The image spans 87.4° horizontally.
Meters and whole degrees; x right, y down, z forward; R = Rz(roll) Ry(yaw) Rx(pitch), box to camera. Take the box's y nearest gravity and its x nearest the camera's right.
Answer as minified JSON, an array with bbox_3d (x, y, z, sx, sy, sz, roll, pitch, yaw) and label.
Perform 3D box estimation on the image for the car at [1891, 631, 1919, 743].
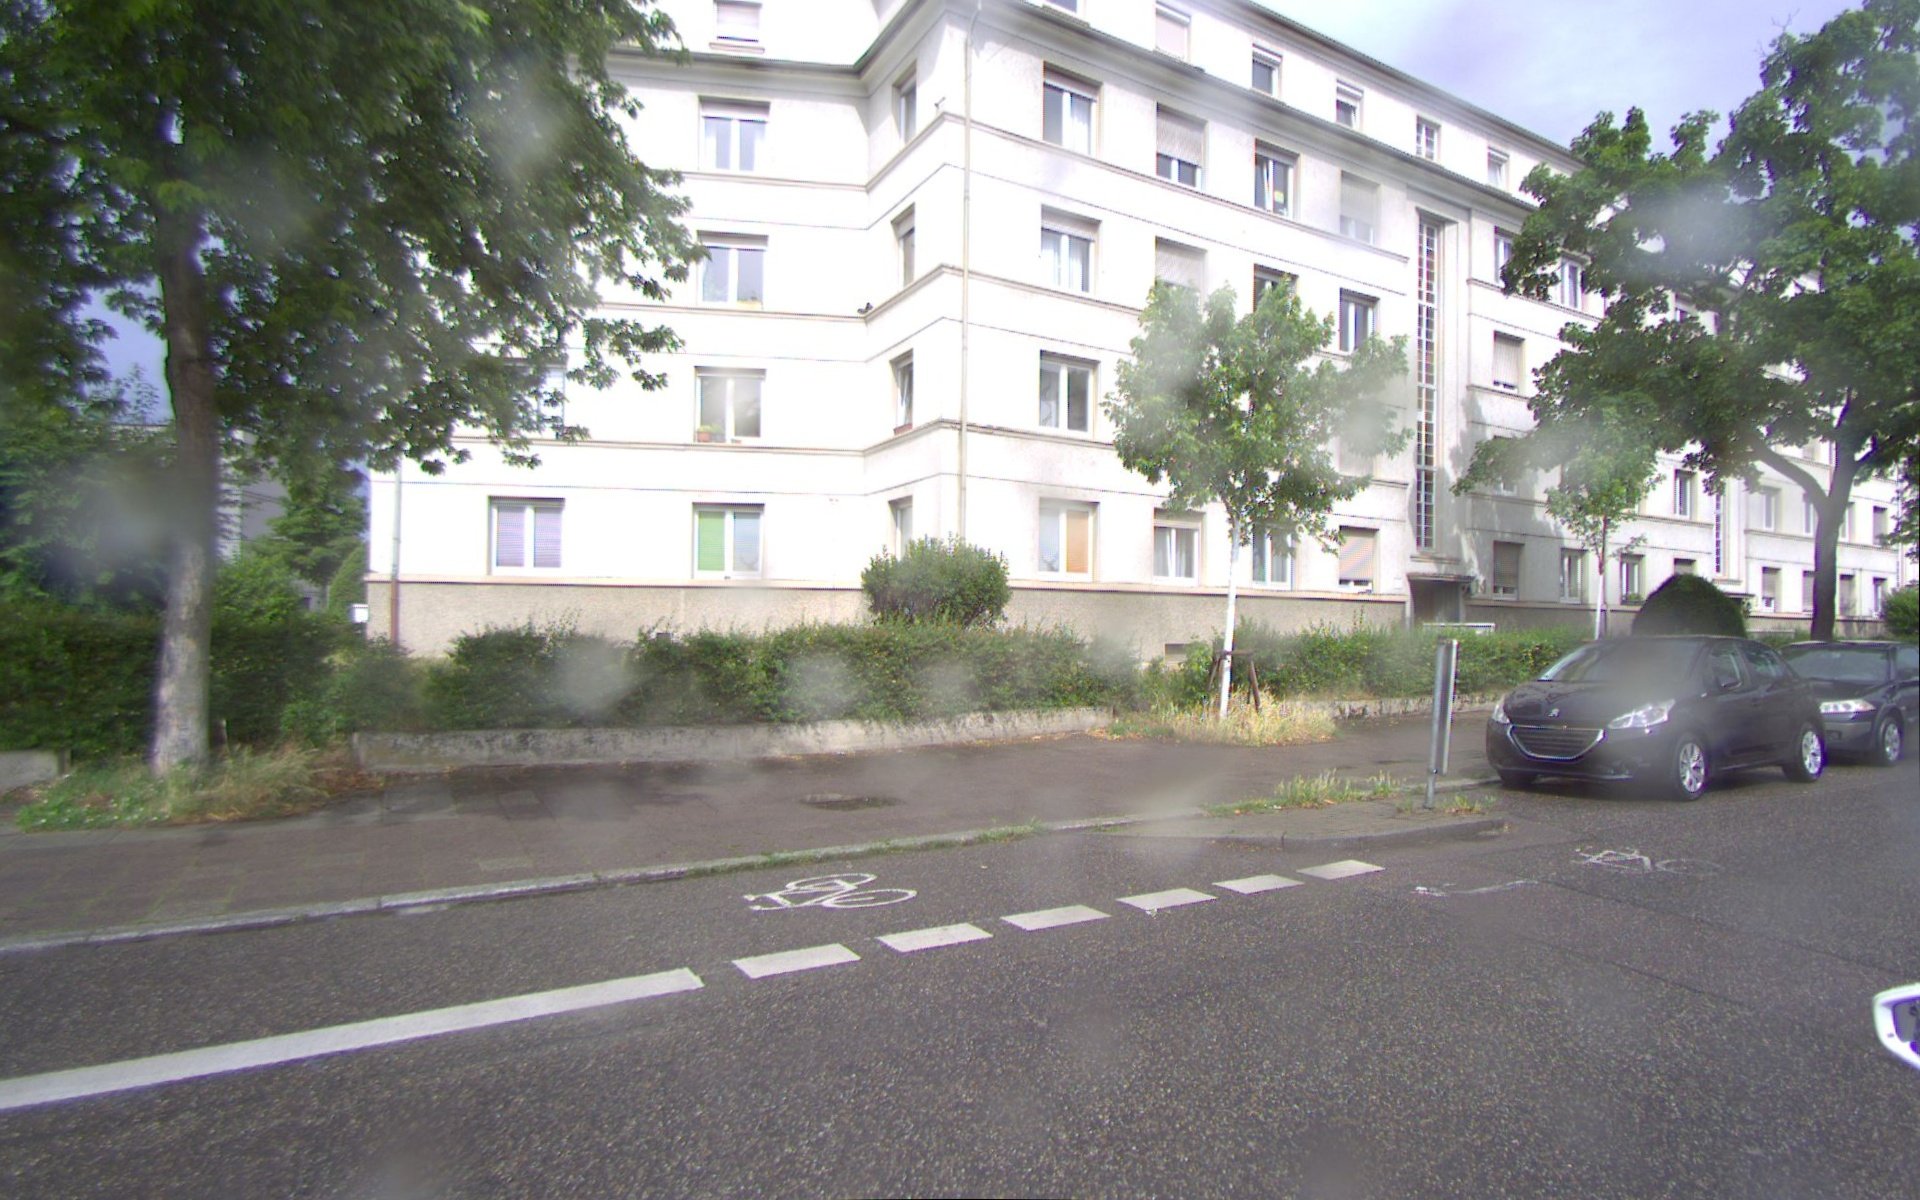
[{"bbox_3d":[15.651,1.276,14.949,3.968,1.596,1.578,2,-3,-31],"label":"car"}]

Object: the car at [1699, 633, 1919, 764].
[{"bbox_3d":[11.284,1.167,12.812,4.006,1.436,1.578,2,-3,-31],"label":"car"}]

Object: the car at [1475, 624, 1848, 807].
[{"bbox_3d":[7.119,1.041,10.106,4.018,1.525,1.578,2,-3,-31],"label":"car"}]
